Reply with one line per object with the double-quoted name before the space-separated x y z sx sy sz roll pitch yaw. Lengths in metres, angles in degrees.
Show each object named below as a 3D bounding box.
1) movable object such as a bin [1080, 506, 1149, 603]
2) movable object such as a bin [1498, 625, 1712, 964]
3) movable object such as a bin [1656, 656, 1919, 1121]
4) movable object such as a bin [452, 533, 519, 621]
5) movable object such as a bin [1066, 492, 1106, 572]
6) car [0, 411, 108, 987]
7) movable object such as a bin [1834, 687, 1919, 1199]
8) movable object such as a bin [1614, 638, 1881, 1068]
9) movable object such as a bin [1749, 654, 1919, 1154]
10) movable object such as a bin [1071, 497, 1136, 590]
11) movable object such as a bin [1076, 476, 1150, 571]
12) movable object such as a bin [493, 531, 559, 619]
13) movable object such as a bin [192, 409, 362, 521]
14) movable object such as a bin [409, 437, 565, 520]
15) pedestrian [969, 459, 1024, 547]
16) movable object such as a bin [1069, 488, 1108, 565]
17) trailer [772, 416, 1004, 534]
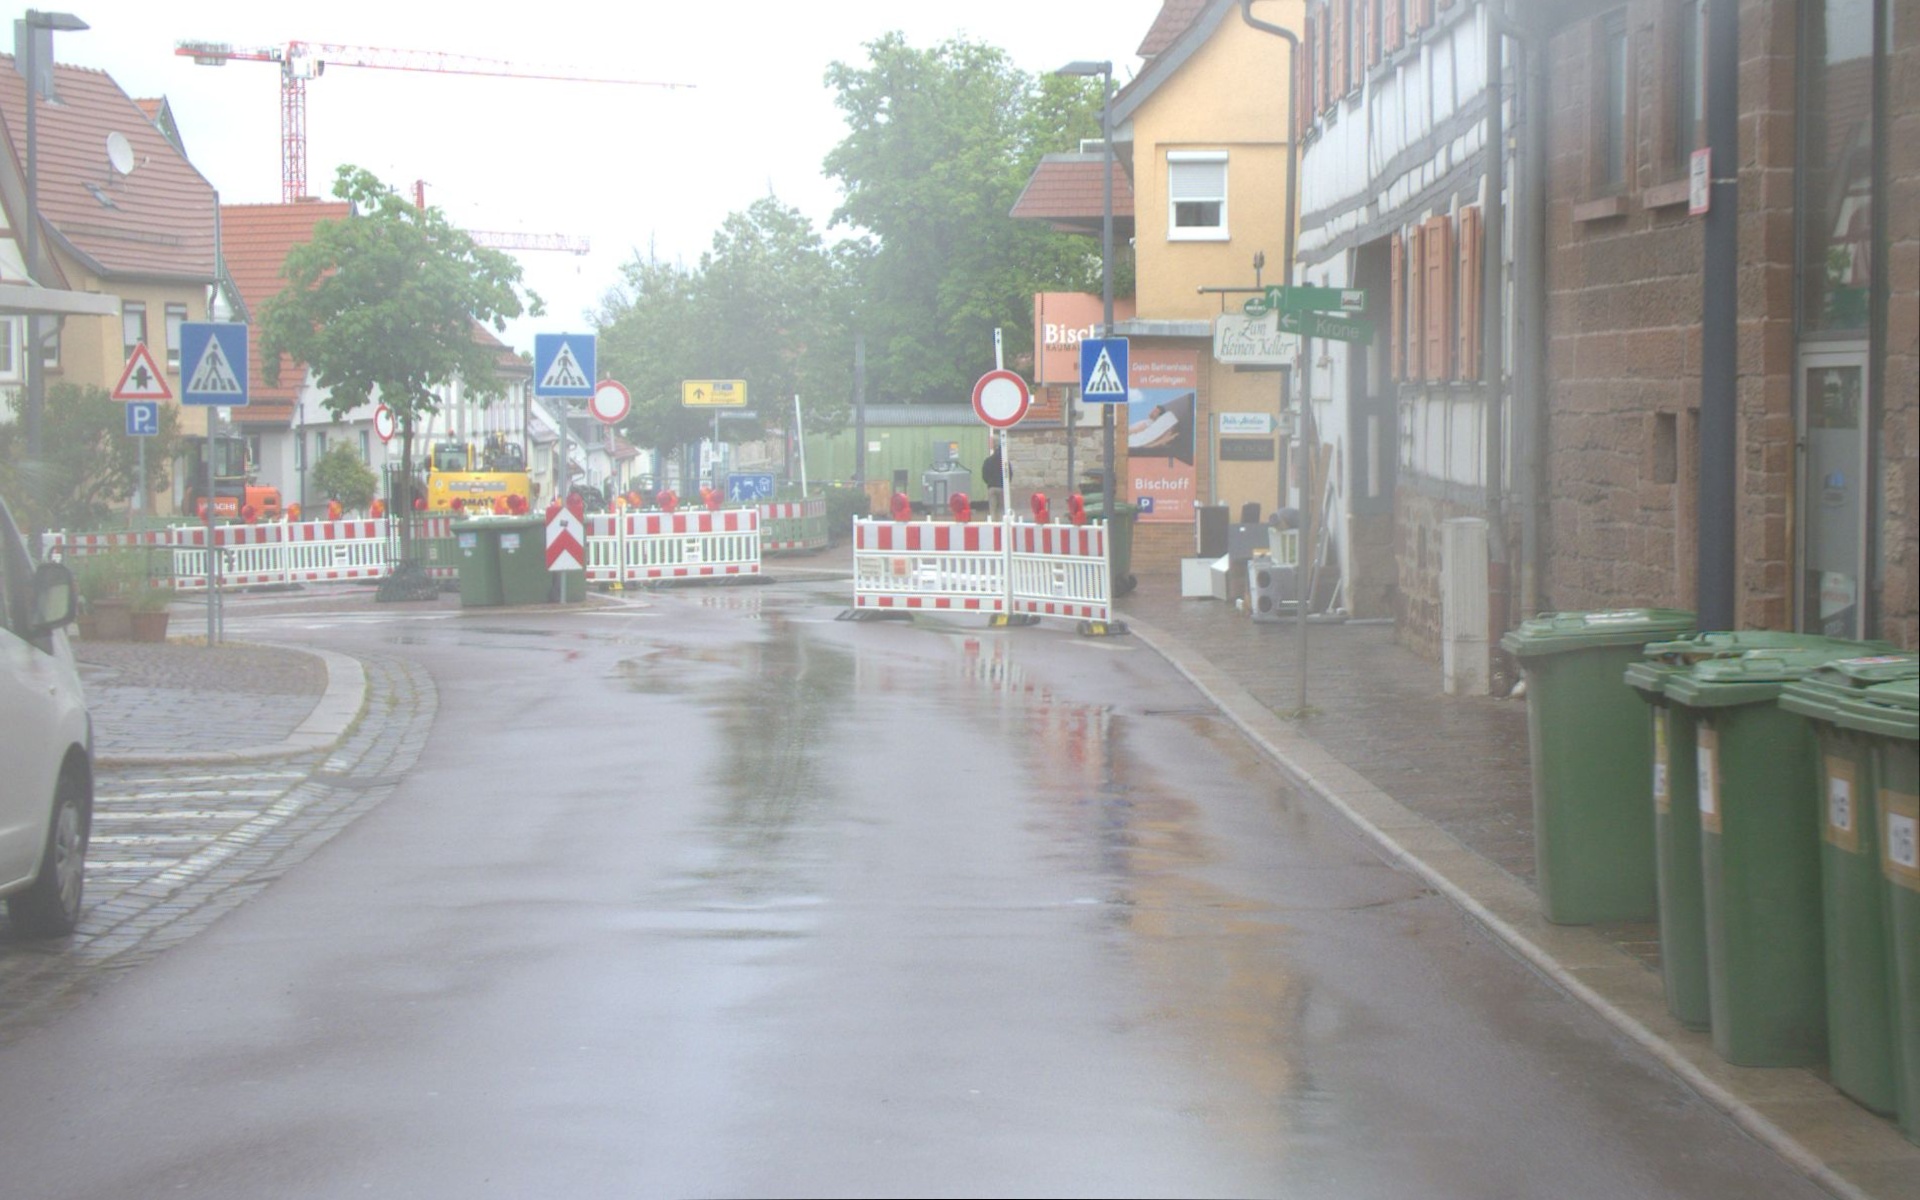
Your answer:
"movable object such as a bin" 1.770 -0.526 39.393 0.678 1.062 0.540 -2 5 -8
"movable object such as a bin" 2.221 0.659 11.896 0.609 1.124 0.599 0 1 -1
"movable object such as a bin" 2.192 0.735 9.000 0.638 1.143 0.603 1 1 4
"movable object such as a bin" -5.701 -0.276 41.319 0.541 1.033 0.571 -1 0 33
"movable object such as a bin" 1.860 -1.008 50.719 0.517 1.128 0.580 -3 3 3
"car" -3.862 0.321 10.321 1.723 1.819 4.429 0 1 -3
"movable object such as a bin" 2.376 0.743 7.678 0.669 1.077 0.588 -1 1 -2
"movable object such as a bin" 2.199 0.692 9.658 0.638 1.143 0.580 1 1 4
"movable object such as a bin" 2.327 0.716 8.341 0.638 1.143 0.632 0 1 -3
"movable object such as a bin" 1.678 -0.657 40.077 0.616 1.062 0.539 -1 1 16
"movable object such as a bin" 2.560 -1.290 57.431 1.065 1.507 1.242 -3 2 7
"movable object such as a bin" -5.171 -0.296 40.988 0.544 1.029 0.533 -2 0 33
"movable object such as a bin" -12.972 -2.544 65.551 1.905 2.007 3.999 -2 1 8
"movable object such as a bin" -11.812 -3.023 86.113 3.402 2.007 3.479 0 1 0
"pedestrian" 0.738 -1.950 69.430 0.990 1.752 0.852 0 1 -7
"movable object such as a bin" 1.967 -1.131 52.568 0.516 1.124 0.580 -3 3 3
"trailer" -1.871 -3.185 87.937 5.780 2.937 2.001 0 1 -6
